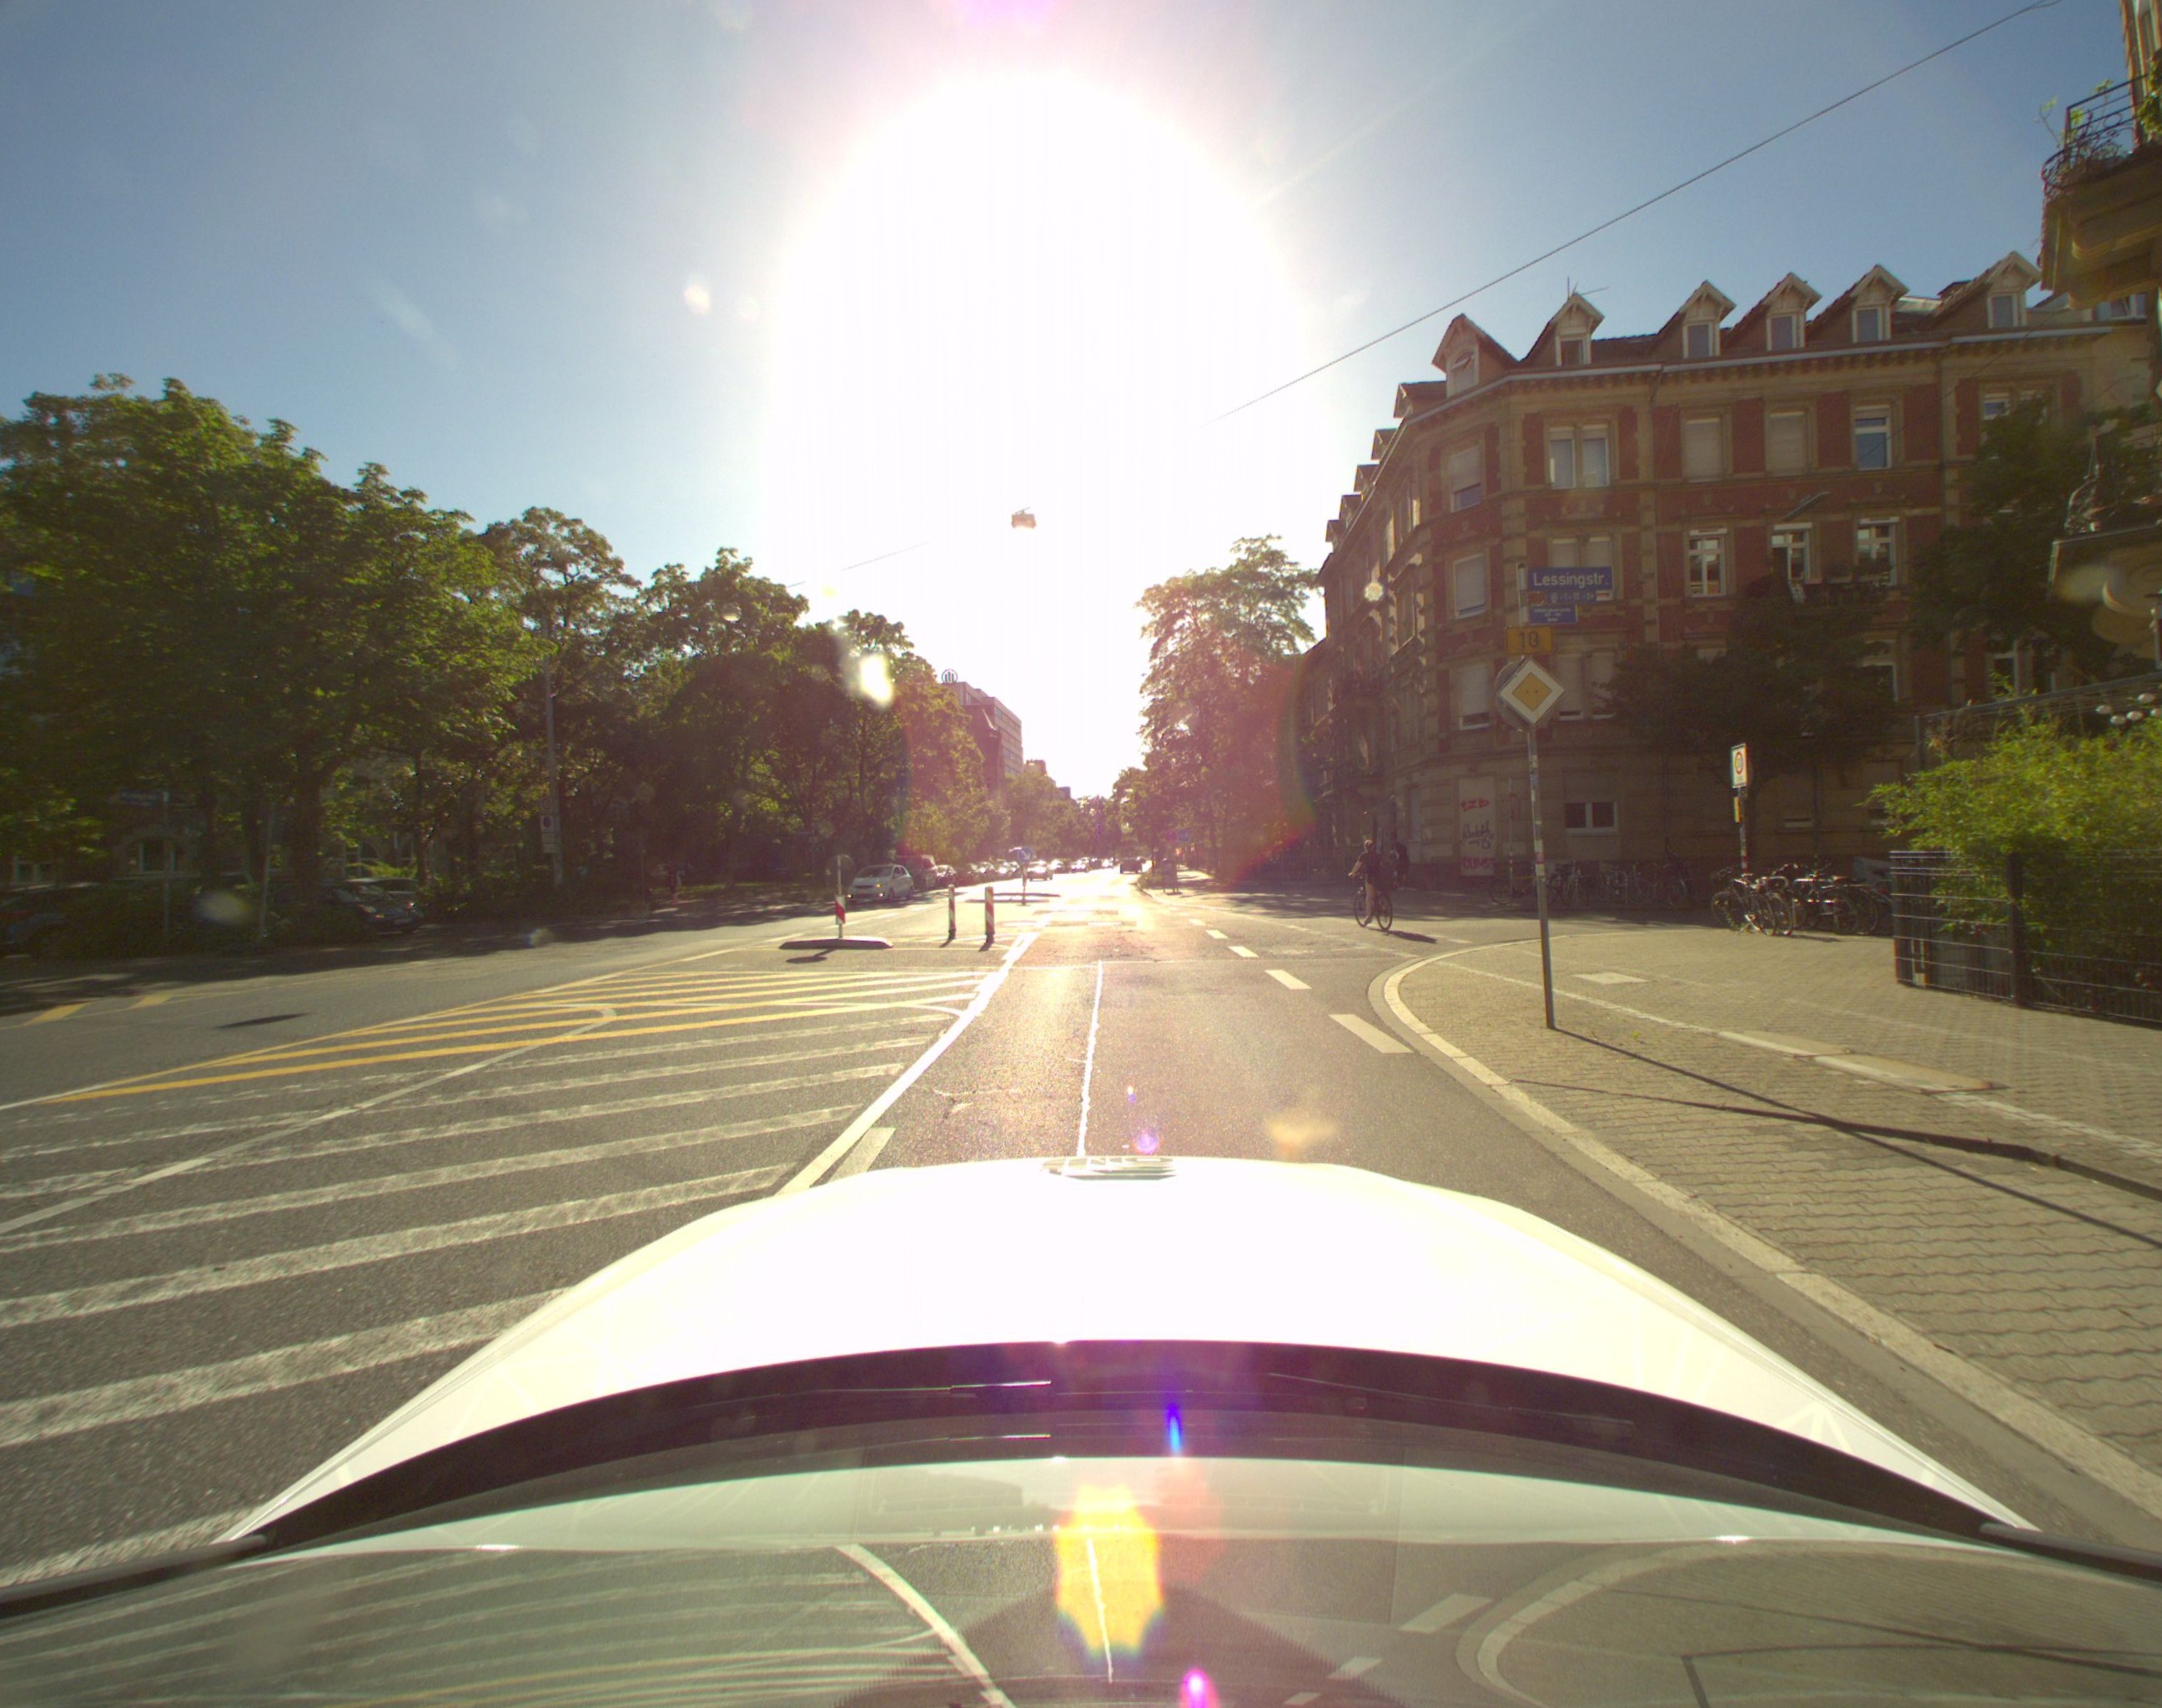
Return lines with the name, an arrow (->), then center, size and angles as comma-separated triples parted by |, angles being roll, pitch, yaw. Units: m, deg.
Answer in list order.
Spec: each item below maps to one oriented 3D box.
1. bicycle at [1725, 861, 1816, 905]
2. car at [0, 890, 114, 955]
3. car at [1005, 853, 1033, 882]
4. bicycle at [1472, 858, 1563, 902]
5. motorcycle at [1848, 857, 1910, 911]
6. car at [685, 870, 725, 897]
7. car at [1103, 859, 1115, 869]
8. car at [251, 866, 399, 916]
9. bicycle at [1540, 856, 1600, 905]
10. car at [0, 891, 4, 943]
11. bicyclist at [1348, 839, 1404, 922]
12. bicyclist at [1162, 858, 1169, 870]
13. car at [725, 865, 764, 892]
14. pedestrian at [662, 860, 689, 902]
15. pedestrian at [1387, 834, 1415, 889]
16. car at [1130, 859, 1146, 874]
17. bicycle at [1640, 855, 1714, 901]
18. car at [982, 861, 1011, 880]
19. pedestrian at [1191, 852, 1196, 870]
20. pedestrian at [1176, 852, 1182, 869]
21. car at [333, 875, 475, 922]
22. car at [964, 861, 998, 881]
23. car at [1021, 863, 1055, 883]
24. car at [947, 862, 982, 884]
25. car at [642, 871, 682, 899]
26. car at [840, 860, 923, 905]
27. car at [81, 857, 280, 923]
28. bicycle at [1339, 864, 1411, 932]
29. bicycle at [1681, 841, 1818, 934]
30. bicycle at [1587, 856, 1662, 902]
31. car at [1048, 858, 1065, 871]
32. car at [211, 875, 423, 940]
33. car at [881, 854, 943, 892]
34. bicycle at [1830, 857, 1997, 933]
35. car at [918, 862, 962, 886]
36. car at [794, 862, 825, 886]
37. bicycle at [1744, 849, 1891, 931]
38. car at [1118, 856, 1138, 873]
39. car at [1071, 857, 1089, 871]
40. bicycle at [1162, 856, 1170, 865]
bicycle -> 17.394, 0.726, 20.551 | 1.827, 0.989, 0.561 | -1, 4, -2
car -> -25.727, 1.590, 18.819 | 1.839, 1.491, 4.000 | 0, -3, 1
car -> -5.927, 1.282, 78.336 | 1.818, 2.651, 5.167 | -1, 0, 4
bicycle -> 11.295, 0.665, 21.129 | 0.699, 1.095, 1.947 | -1, -1, -43
motorcycle -> 20.271, 0.775, 20.738 | 0.987, 1.285, 2.427 | -3, -4, 42
car -> -25.198, 1.916, 54.515 | 1.988, 1.662, 3.961 | -2, 0, -31
car -> 4.586, 1.706, 133.747 | 1.927, 1.519, 4.031 | 0, -3, 2
car -> -28.712, 1.352, 31.115 | 1.839, 1.654, 4.001 | 0, 1, 1
bicycle -> 12.705, 0.659, 21.240 | 0.575, 1.094, 1.976 | 0, 3, 7
car -> -28.236, 1.592, 18.582 | 1.839, 1.491, 4.000 | 0, -3, 1
bicyclist -> 5.817, 0.503, 16.094 | 0.739, 1.580, 1.101 | 0, 1, 2
bicyclist -> 9.533, 1.106, 91.662 | 0.678, 1.327, 0.636 | 0, -3, 1
car -> -22.873, 1.633, 55.271 | 1.987, 1.662, 3.962 | -2, 0, -29
pedestrian -> -16.374, 1.083, 32.861 | 0.662, 1.626, 0.720 | -1, 0, 34
pedestrian -> 10.851, 0.261, 27.641 | 0.652, 1.816, 0.752 | -1, -3, 6
car -> 6.956, 1.553, 99.040 | 1.810, 1.740, 4.005 | -1, 0, 5
bicycle -> 15.452, 0.607, 21.181 | 0.557, 1.131, 2.035 | -1, 0, 5
car -> -6.765, 1.277, 65.158 | 1.515, 1.432, 3.344 | -1, 0, 8
pedestrian -> 12.569, 0.764, 91.164 | 0.474, 2.014, 0.492 | 0, -3, 1
pedestrian -> 11.193, 0.732, 93.307 | 0.612, 2.014, 0.681 | -1, -1, 1
car -> -25.304, 1.676, 30.650 | 1.839, 1.654, 4.000 | 0, -3, 1
car -> -7.512, 1.250, 61.449 | 1.514, 1.432, 3.563 | -1, 0, 10
car -> -3.222, 1.457, 61.753 | 1.774, 1.460, 4.425 | -1, -1, 8
car -> -7.951, 1.321, 55.984 | 1.515, 1.433, 3.343 | -1, -3, 8
car -> -27.508, 2.005, 53.460 | 1.989, 1.662, 3.959 | -2, 0, -32
car -> -7.693, 1.071, 31.811 | 1.749, 1.519, 3.868 | -3, 0, 8
car -> -34.211, 1.413, 31.211 | 1.839, 2.324, 4.985 | 0, -4, 1
bicycle -> 5.835, 0.841, 16.297 | 0.738, 1.219, 1.961 | -3, 0, 2
bicycle -> 10.870, 0.511, 13.357 | 0.576, 1.397, 2.069 | -1, 0, 2
bicycle -> 14.172, 0.626, 21.292 | 0.723, 1.131, 2.035 | -1, 0, 5
car -> -3.009, 1.272, 99.021 | 1.795, 1.504, 3.809 | -1, 0, 2
car -> -19.906, 1.372, 21.322 | 3.967, 1.469, 1.814 | -1, 3, 6
car -> -9.322, 1.009, 45.435 | 2.189, 1.929, 4.866 | -1, 0, 3
bicycle -> 13.146, 0.610, 12.966 | 0.576, 1.095, 2.069 | -1, 0, 2
car -> -8.674, 1.283, 50.506 | 1.705, 1.353, 4.004 | -1, -3, 5
car -> -19.606, 1.399, 58.699 | 1.981, 1.662, 3.973 | -1, 0, -20
bicycle -> 11.959, 0.549, 13.332 | 0.576, 1.235, 2.069 | -1, 0, 2
car -> 4.691, 1.035, 81.329 | 1.887, 1.519, 4.002 | 1, 1, 2
car -> -0.109, 1.196, 96.135 | 1.629, 1.519, 4.039 | -1, 0, 8
bicycle -> 9.544, 0.770, 91.608 | 0.672, 0.938, 2.282 | -2, -2, 1
